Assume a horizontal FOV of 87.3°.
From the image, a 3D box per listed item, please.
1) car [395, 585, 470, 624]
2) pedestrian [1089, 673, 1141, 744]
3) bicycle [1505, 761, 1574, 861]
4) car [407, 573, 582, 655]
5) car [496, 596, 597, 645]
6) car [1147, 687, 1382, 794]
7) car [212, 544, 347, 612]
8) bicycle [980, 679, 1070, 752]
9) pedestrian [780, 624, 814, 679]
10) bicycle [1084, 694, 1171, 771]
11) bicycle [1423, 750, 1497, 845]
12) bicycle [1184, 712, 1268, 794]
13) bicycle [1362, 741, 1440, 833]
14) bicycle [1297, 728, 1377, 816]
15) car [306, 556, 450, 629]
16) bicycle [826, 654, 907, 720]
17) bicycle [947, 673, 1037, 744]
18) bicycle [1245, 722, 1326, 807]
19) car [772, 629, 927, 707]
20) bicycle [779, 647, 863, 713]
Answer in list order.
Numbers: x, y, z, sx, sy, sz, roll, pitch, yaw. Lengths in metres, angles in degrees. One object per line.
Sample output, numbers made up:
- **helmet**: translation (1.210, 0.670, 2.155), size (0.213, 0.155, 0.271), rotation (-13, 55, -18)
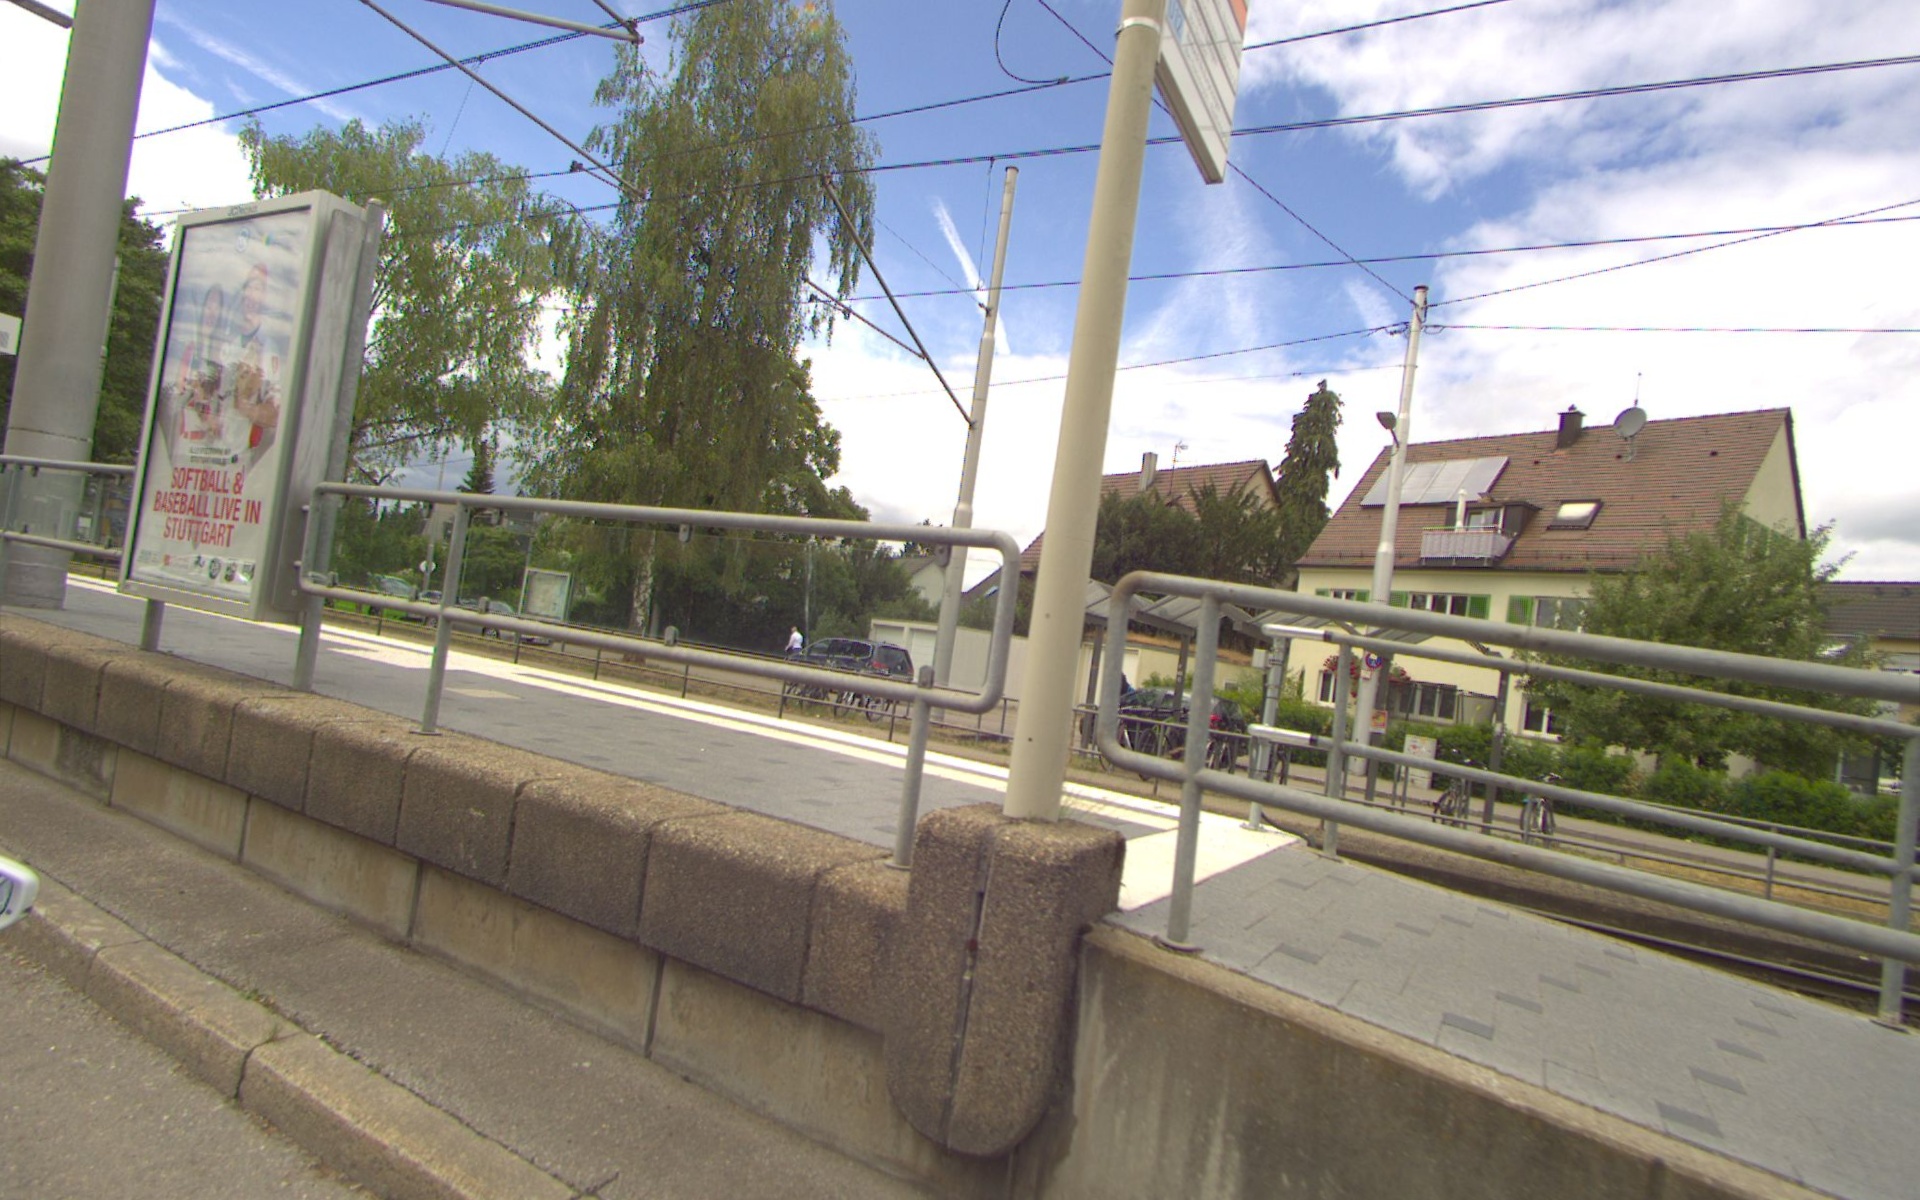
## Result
- **car**: translation (-26.001, 0.222, 49.586), size (3.844, 1.505, 1.757), rotation (5, -3, 39)
- **pedestrian**: translation (4.091, 2.852, 26.474), size (0.932, 1.704, 0.811), rotation (7, -2, 28)
- **bicycle**: translation (7.190, 2.560, 12.445), size (0.548, 1.053, 1.769), rotation (6, -4, 34)
- **car**: translation (-12.746, 0.373, 27.519), size (4.186, 1.591, 2.070), rotation (7, -3, 28)
- **car**: translation (-17.394, 0.844, 42.220), size (4.860, 1.505, 1.756), rotation (4, -4, 40)
- **car**: translation (6.479, 2.974, 21.670), size (4.359, 1.502, 1.816), rotation (6, -4, 40)
- **car**: translation (-21.960, -0.719, 32.437), size (4.028, 1.591, 1.762), rotation (7, -3, 28)
- **bicycle**: translation (1.096, 1.926, 16.580), size (0.548, 1.053, 1.769), rotation (6, -4, 34)
- **pedestrian**: translation (-5.744, 1.800, 35.388), size (0.817, 1.791, 0.681), rotation (9, -2, -22)
- **bicycle**: translation (2.622, 2.075, 15.625), size (0.548, 1.053, 1.769), rotation (6, -4, 34)
- **bicycle**: translation (6.455, 2.507, 12.944), size (0.548, 1.053, 1.769), rotation (6, -4, 34)
- **bicycle**: translation (3.934, 2.245, 14.800), size (0.548, 1.053, 1.769), rotation (6, -4, 34)
- **bicycle**: translation (5.873, 2.451, 13.342), size (0.548, 1.053, 1.769), rotation (6, -4, 34)
- **bicycle**: translation (5.223, 2.359, 13.879), size (0.548, 1.053, 1.769), rotation (6, -4, 34)
- **car**: translation (-17.333, -0.234, 29.944), size (3.930, 1.591, 1.736), rotation (7, -3, 28)
- **bicycle**: translation (-1.658, 1.585, 18.142), size (0.547, 1.053, 1.772), rotation (7, -3, 24)
- **bicycle**: translation (0.563, 1.856, 16.966), size (0.548, 1.053, 1.769), rotation (6, -4, 34)
- **bicycle**: translation (4.642, 2.323, 14.271), size (0.548, 1.053, 1.769), rotation (6, -4, 34)
- **car**: translation (-3.377, 1.992, 30.054), size (4.776, 1.654, 1.814), rotation (5, -4, 44)
- **bicycle**: translation (-2.476, 1.461, 18.165), size (0.547, 1.053, 1.772), rotation (7, -3, 23)
